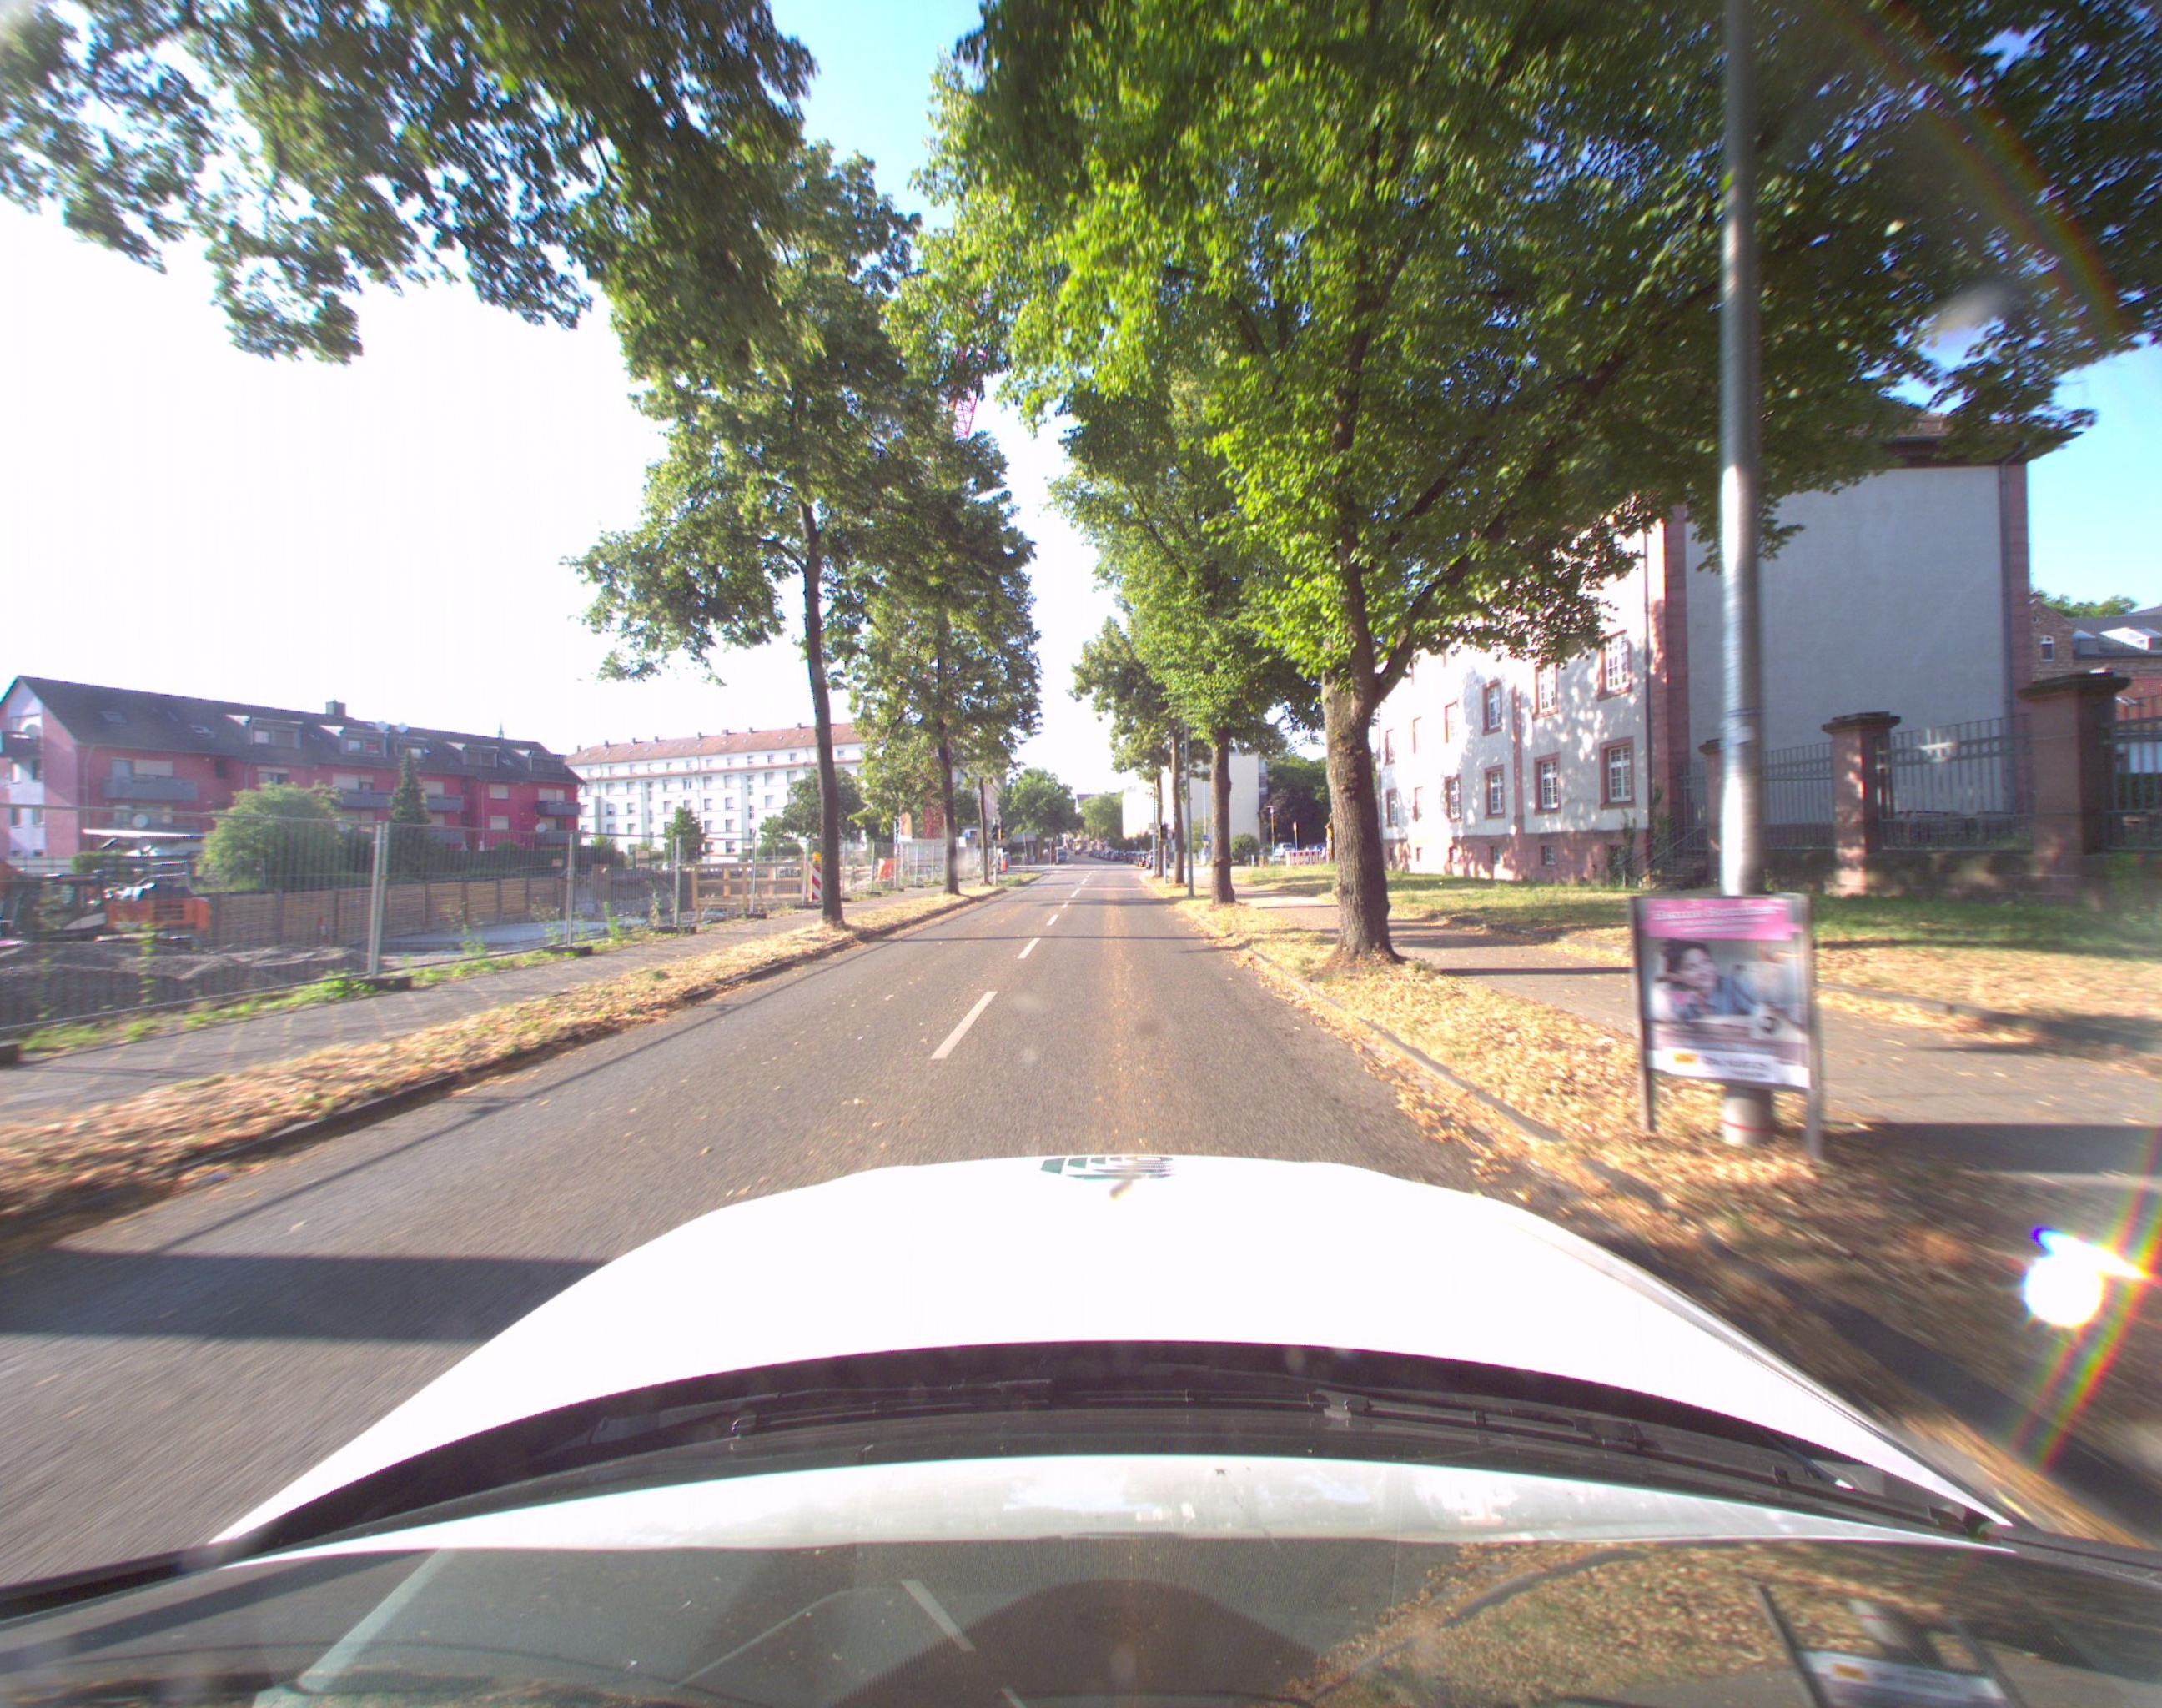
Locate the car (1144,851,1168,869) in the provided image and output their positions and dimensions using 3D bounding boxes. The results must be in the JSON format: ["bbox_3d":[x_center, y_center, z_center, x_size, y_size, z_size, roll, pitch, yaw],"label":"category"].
[{"bbox_3d":[6.734,0.527,73.639,1.834,1.574,4.001,-2,0,1],"label":"car"}]

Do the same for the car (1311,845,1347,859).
[{"bbox_3d":[30.974,-0.203,101.694,3.971,1.728,1.774,0,0,2],"label":"car"}]

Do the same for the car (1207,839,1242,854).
[{"bbox_3d":[17.318,-0.921,98.268,3.971,1.728,1.774,0,0,2],"label":"car"}]

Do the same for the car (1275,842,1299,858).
[{"bbox_3d":[21.554,-0.423,85.440,1.804,1.559,3.629,0,-1,4],"label":"car"}]

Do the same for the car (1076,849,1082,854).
[{"bbox_3d":[-0.620,-0.665,234.837,1.709,1.486,3.997,-3,-1,-2],"label":"car"}]

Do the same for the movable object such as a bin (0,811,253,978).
[{"bbox_3d":[-33.760,1.299,24.689,2.982,4.992,11.628,-4,0,24],"label":"movable object such as a bin"}]

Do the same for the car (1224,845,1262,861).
[{"bbox_3d":[17.708,-0.089,89.388,3.965,1.684,2.004,0,-1,7],"label":"car"}]

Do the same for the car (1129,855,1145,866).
[{"bbox_3d":[6.959,0.816,101.163,1.834,1.261,4.001,-2,0,1],"label":"car"}]

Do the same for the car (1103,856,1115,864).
[{"bbox_3d":[5.137,1.168,149.255,1.836,1.386,3.997,-2,0,-2],"label":"car"}]

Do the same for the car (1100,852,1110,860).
[{"bbox_3d":[4.980,0.424,169.880,1.836,1.386,3.997,-2,0,-2],"label":"car"}]

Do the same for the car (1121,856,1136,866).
[{"bbox_3d":[6.283,0.950,108.031,1.834,1.261,4.001,-2,0,1],"label":"car"}]

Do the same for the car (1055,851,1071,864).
[{"bbox_3d":[-2.507,0.520,113.486,1.990,1.687,3.994,-2,-1,-4],"label":"car"}]

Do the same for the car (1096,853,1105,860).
[{"bbox_3d":[4.184,0.609,175.989,1.836,1.386,3.997,-2,0,-2],"label":"car"}]

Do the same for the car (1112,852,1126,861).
[{"bbox_3d":[5.922,0.392,126.135,1.836,1.386,3.997,-2,0,-2],"label":"car"}]

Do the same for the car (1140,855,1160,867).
[{"bbox_3d":[7.175,0.736,85.191,1.773,1.227,4.001,-2,0,1],"label":"car"}]

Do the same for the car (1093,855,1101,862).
[{"bbox_3d":[3.864,1.123,199.175,1.836,1.386,3.998,-4,0,-1],"label":"car"}]

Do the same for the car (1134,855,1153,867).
[{"bbox_3d":[6.910,0.752,90.538,1.834,1.261,4.001,-2,0,1],"label":"car"}]

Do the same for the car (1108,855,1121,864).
[{"bbox_3d":[5.654,0.970,136.887,1.836,1.386,3.997,-2,0,-2],"label":"car"}]

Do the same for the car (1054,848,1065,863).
[{"bbox_3d":[-4.696,0.333,178.568,2.180,3.131,4.981,-4,-1,-2],"label":"car"}]
